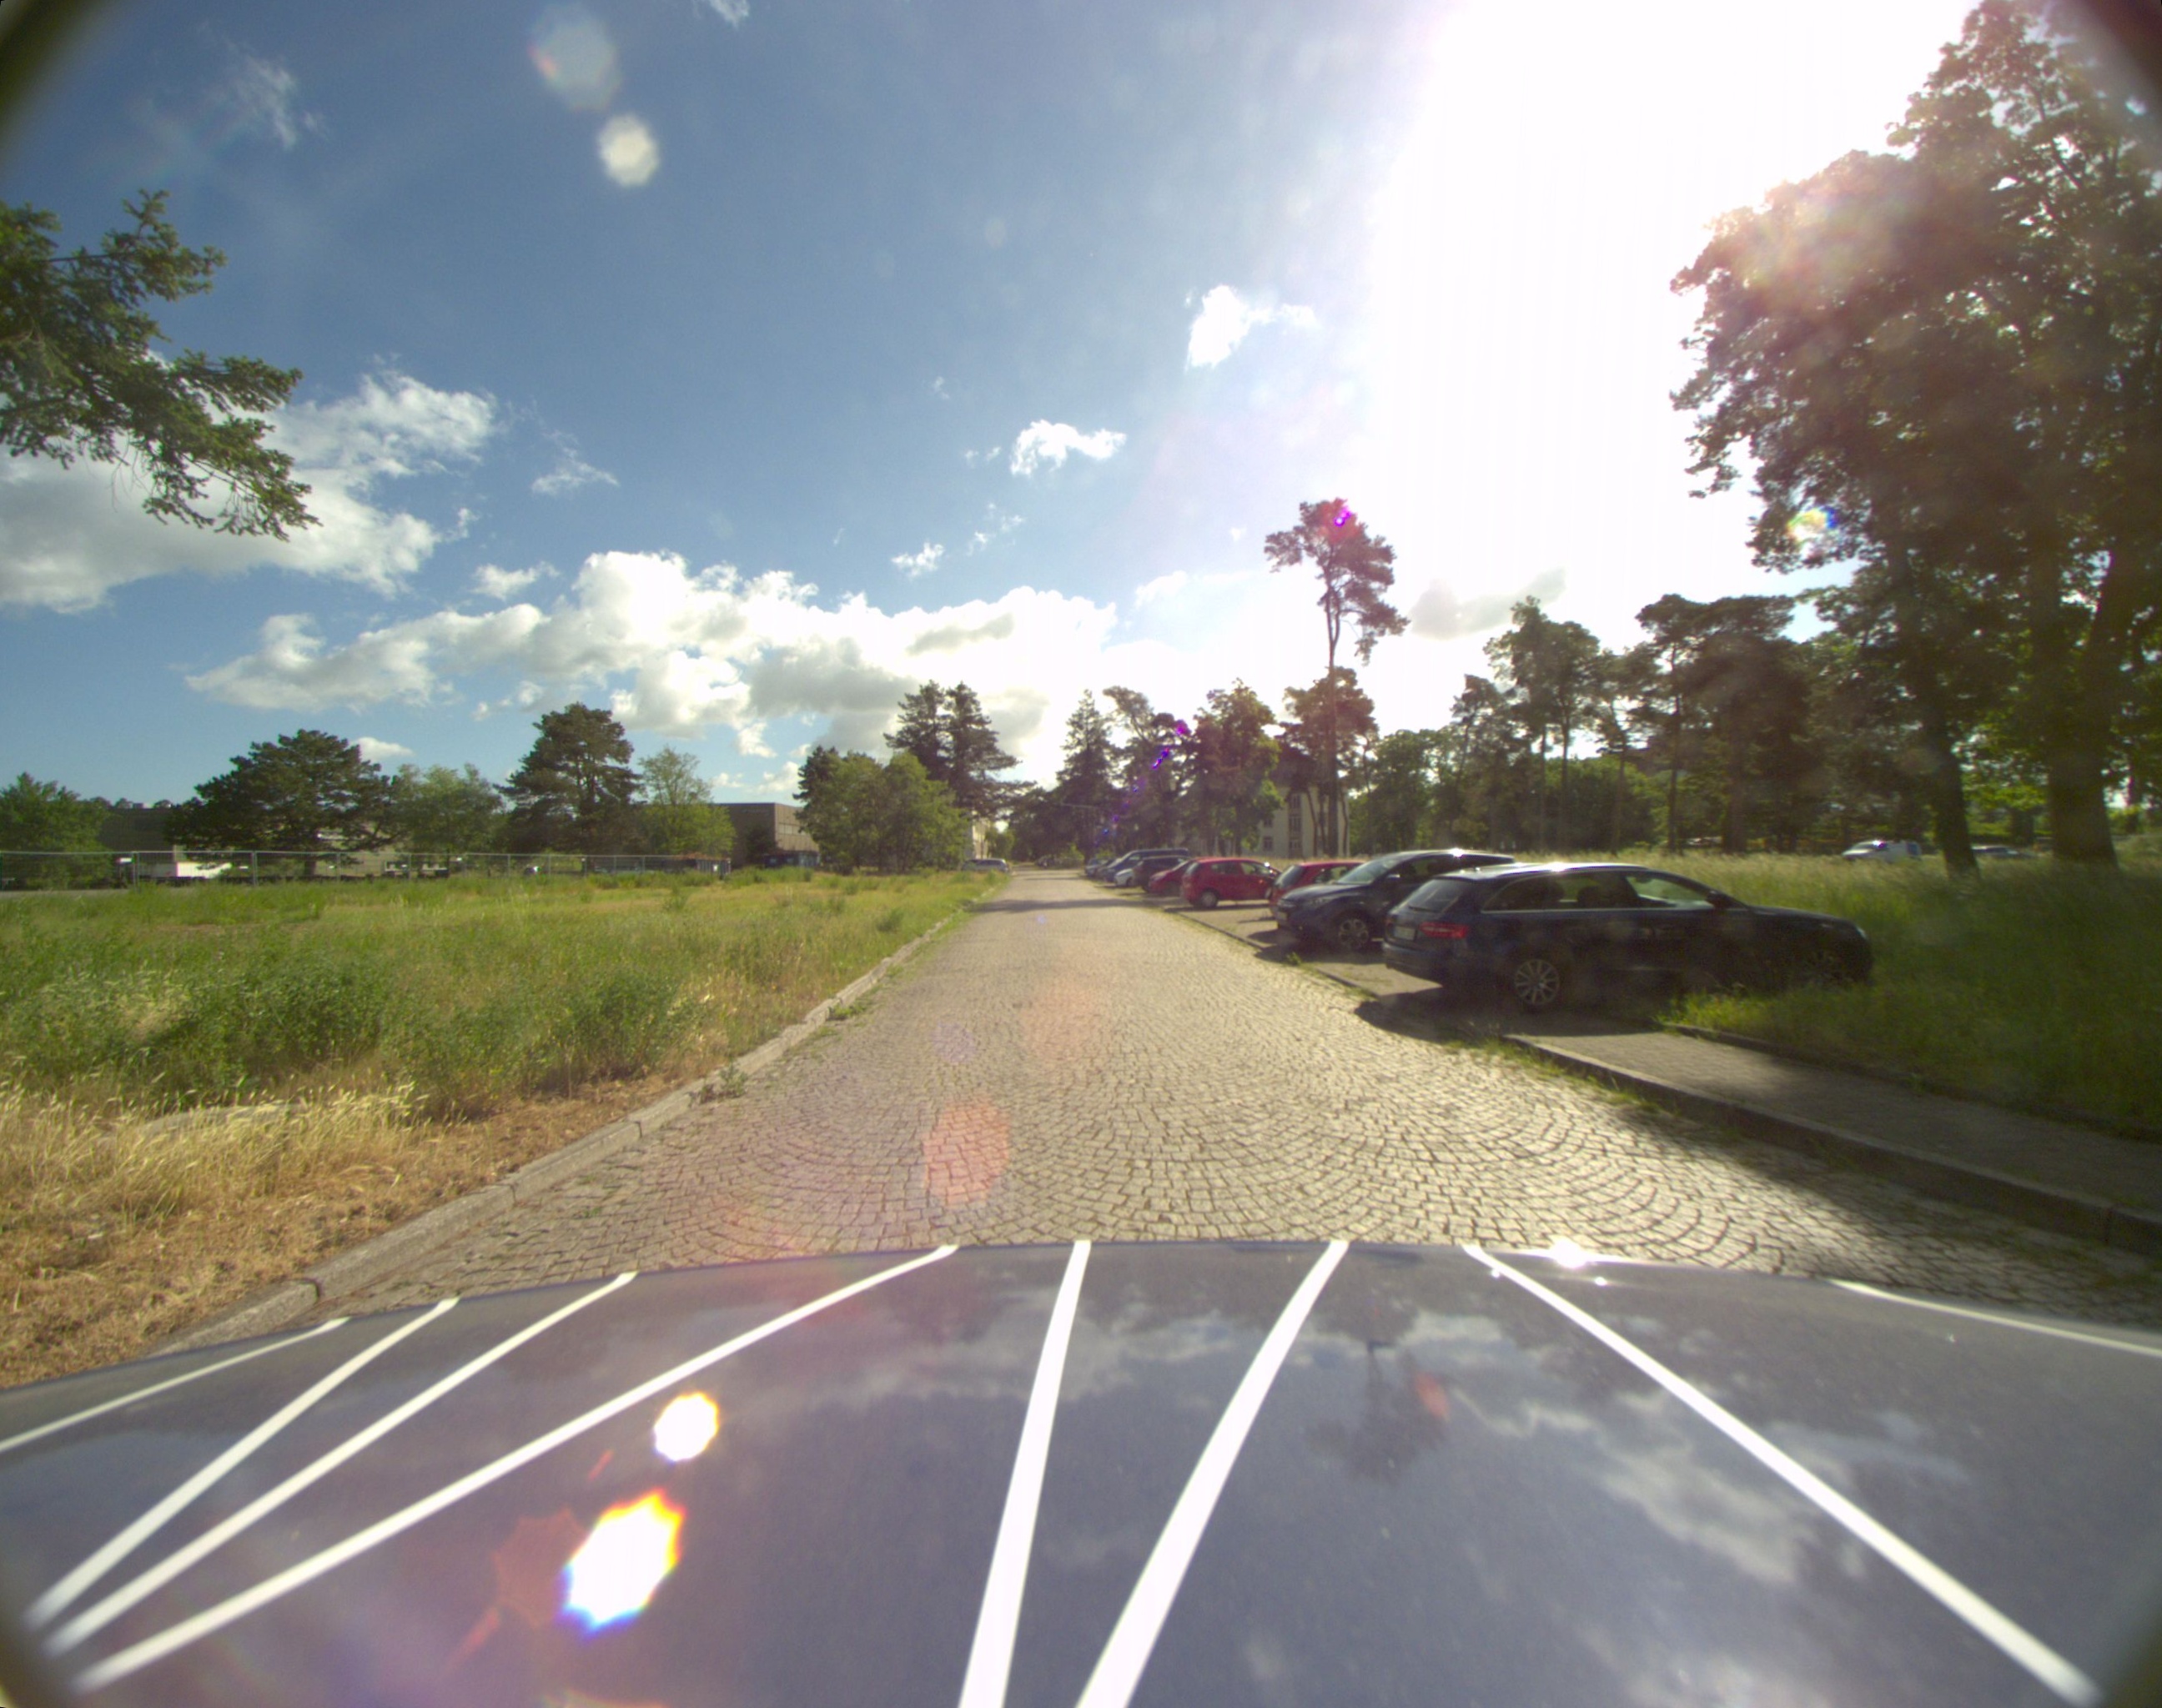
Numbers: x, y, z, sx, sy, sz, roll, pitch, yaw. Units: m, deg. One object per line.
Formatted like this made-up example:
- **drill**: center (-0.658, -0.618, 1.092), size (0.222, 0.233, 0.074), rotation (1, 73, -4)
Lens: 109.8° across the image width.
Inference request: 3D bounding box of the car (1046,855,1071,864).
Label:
- **car**: center (-3.878, 0.958, 129.458), size (4.046, 1.514, 1.816), rotation (0, 1, -11)

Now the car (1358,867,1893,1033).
- **car**: center (5.526, 0.926, 8.174), size (4.371, 1.436, 1.920), rotation (-2, 0, 0)

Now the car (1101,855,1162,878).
- **car**: center (3.533, 0.865, 53.477), size (4.088, 1.444, 1.821), rotation (-2, 1, -2)

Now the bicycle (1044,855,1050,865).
- **bicycle**: center (-4.946, 0.871, 111.169), size (0.621, 1.342, 2.113), rotation (-3, 1, -8)

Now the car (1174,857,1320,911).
- **car**: center (4.993, 0.877, 23.196), size (3.935, 1.452, 1.841), rotation (-2, 0, -5)

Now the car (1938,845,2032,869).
- **car**: center (61.845, 0.208, 52.017), size (4.240, 1.596, 1.912), rotation (0, 1, -2)

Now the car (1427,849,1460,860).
- **car**: center (53.096, 0.114, 111.271), size (4.106, 1.571, 1.720), rotation (0, 1, -2)

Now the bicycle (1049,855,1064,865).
- **bicycle**: center (-3.701, 0.893, 114.591), size (2.114, 1.276, 0.621), rotation (-6, 1, -6)

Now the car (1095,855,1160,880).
- **car**: center (3.051, 0.882, 50.561), size (4.088, 1.417, 1.922), rotation (-2, 0, -2)

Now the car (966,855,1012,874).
- **car**: center (-7.822, 0.872, 64.605), size (3.751, 1.468, 1.751), rotation (2, 0, -5)

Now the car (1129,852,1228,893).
- **car**: center (4.233, 0.797, 33.492), size (3.965, 1.558, 1.973), rotation (-2, 0, -5)

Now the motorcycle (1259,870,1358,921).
- **motorcycle**: center (5.577, 1.015, 18.693), size (2.248, 1.155, 0.577), rotation (-1, 1, -2)

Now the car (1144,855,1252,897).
- **car**: center (4.682, 0.867, 30.782), size (3.935, 1.440, 1.866), rotation (-2, 0, -5)

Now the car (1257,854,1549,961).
- **car**: center (5.313, 0.837, 12.918), size (4.147, 1.570, 1.884), rotation (-2, 0, -3)

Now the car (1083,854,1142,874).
- **car**: center (2.604, 0.845, 63.482), size (4.595, 1.443, 1.983), rotation (-2, 1, -7)

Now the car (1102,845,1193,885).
- **car**: center (3.652, 0.581, 42.367), size (4.731, 1.956, 2.004), rotation (-2, 1, -3)

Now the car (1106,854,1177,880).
- **car**: center (3.750, 0.807, 47.714), size (4.208, 1.466, 1.823), rotation (-2, 0, -3)

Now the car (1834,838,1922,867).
- **car**: center (61.255, -0.097, 58.450), size (4.859, 2.151, 1.956), rotation (0, 1, -2)

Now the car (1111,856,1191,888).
- **car**: center (3.634, 0.923, 39.801), size (3.827, 1.432, 1.682), rotation (-2, 1, -6)

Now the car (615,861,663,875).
- **car**: center (-46.721, 1.528, 80.292), size (3.998, 1.413, 1.745), rotation (-1, -1, -4)

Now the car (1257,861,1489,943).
- **car**: center (5.765, 0.917, 15.343), size (3.934, 1.424, 1.842), rotation (-2, 0, -2)

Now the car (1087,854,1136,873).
- **car**: center (2.617, 0.832, 66.106), size (4.038, 1.474, 1.948), rotation (-2, 0, -5)

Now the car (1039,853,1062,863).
- **car**: center (-5.847, 0.814, 146.718), size (4.228, 1.903, 1.816), rotation (0, 1, -13)

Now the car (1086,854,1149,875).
- **car**: center (2.894, 0.829, 60.774), size (4.878, 1.413, 1.937), rotation (-2, 1, -3)

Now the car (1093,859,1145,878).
- **car**: center (2.779, 1.078, 56.112), size (3.640, 1.227, 1.759), rotation (-2, 1, -2)

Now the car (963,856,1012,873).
- **car**: center (-8.878, 0.979, 72.533), size (4.527, 1.456, 1.837), rotation (1, 0, -6)
